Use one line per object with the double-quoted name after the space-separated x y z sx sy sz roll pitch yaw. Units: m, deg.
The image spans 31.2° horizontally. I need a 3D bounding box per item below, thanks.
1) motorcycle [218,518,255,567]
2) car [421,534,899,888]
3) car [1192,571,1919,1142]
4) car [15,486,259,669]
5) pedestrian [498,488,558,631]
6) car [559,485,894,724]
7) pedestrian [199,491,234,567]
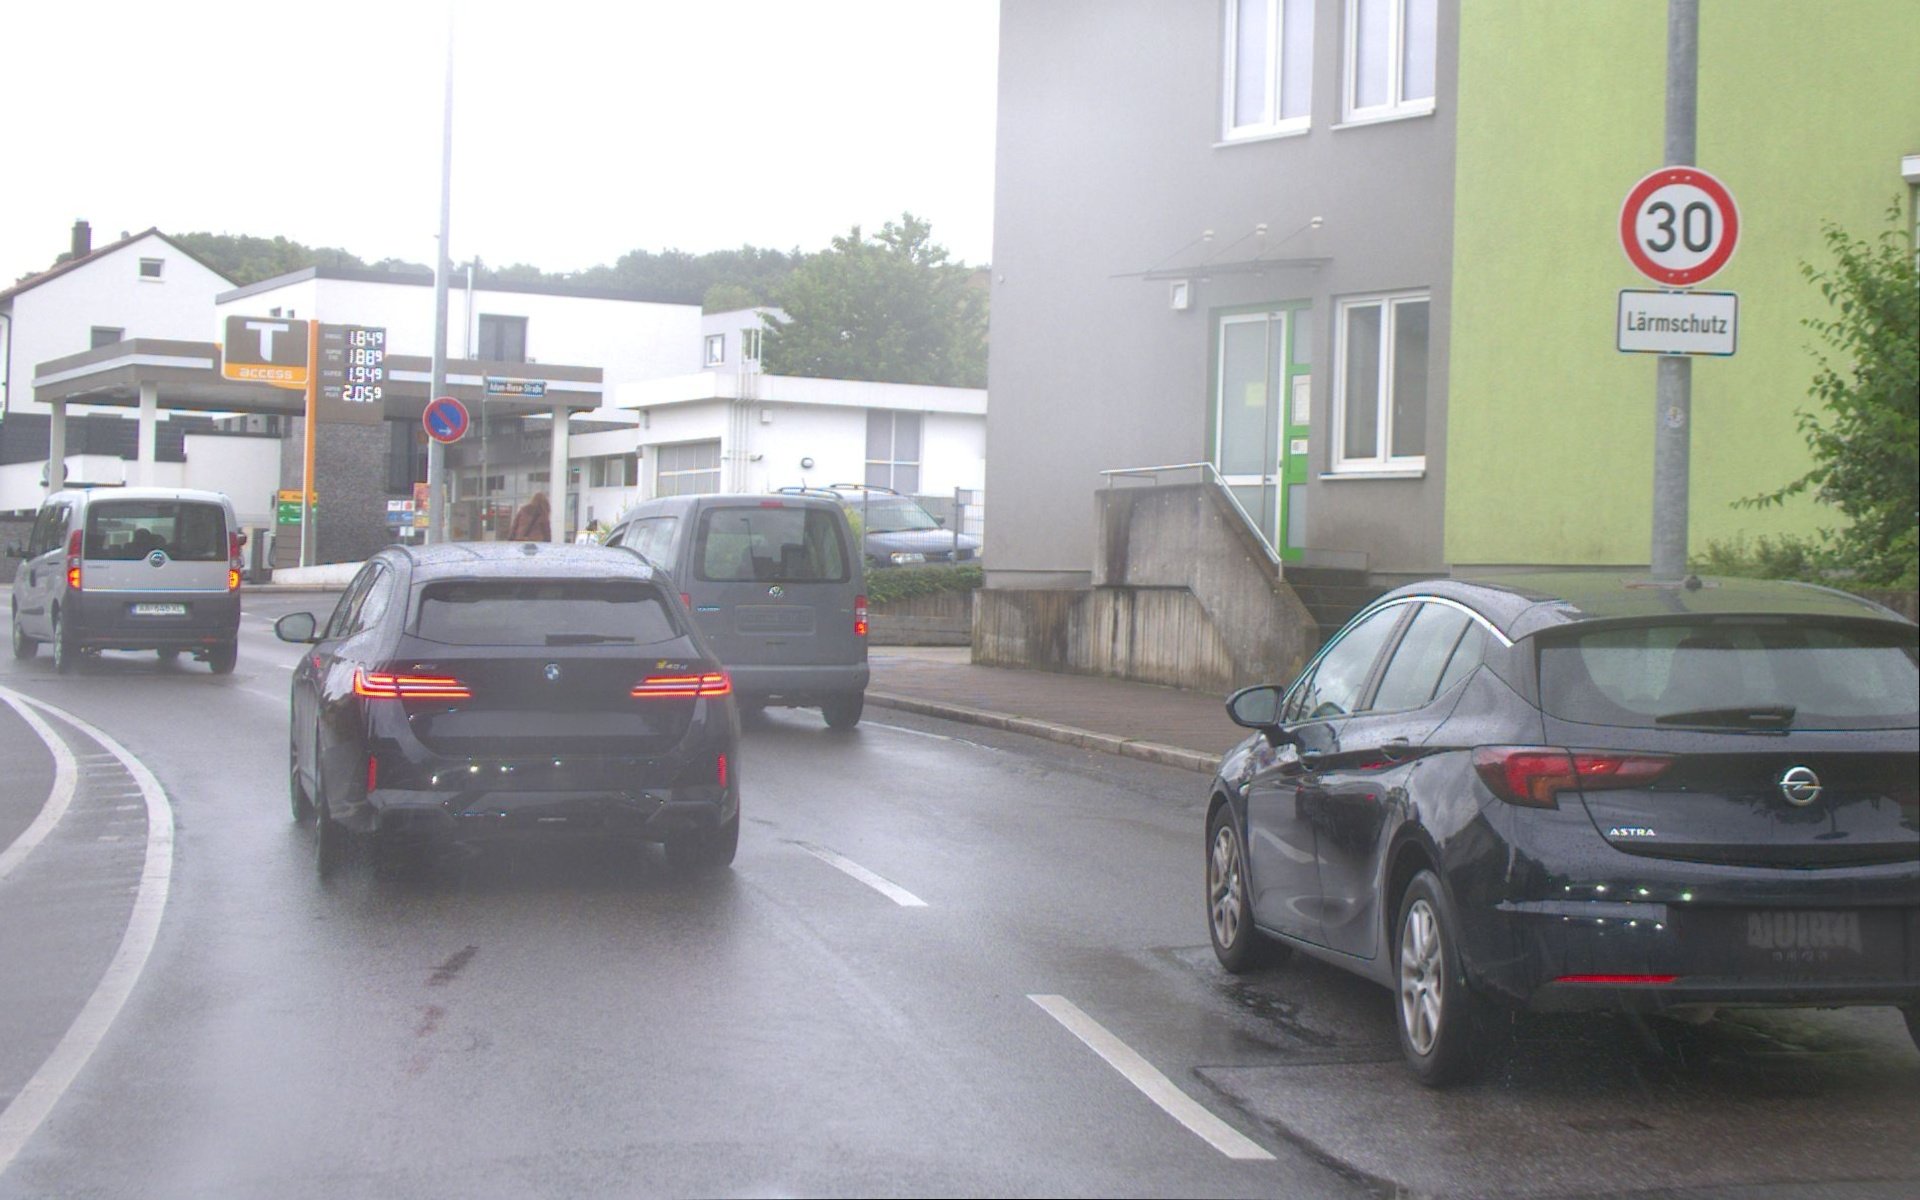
-16.024 -1.260 76.136 0.462 1.052 1.391 1 -1 -26 "motorcycle"
-1.576 0.494 16.617 1.993 1.479 4.001 1 -1 -9 "car"
1.991 0.665 10.986 1.756 1.444 4.001 1 1 -7 "car"
-8.530 -0.202 35.404 1.993 1.732 4.001 1 -1 -20 "car"
-6.175 -0.569 49.104 0.715 2.007 0.615 1 -1 -17 "pedestrian"
-1.976 0.053 27.871 1.838 1.761 4.001 1 -1 -17 "car"
-16.466 -1.574 76.155 0.609 1.650 0.586 1 -1 -26 "pedestrian"
